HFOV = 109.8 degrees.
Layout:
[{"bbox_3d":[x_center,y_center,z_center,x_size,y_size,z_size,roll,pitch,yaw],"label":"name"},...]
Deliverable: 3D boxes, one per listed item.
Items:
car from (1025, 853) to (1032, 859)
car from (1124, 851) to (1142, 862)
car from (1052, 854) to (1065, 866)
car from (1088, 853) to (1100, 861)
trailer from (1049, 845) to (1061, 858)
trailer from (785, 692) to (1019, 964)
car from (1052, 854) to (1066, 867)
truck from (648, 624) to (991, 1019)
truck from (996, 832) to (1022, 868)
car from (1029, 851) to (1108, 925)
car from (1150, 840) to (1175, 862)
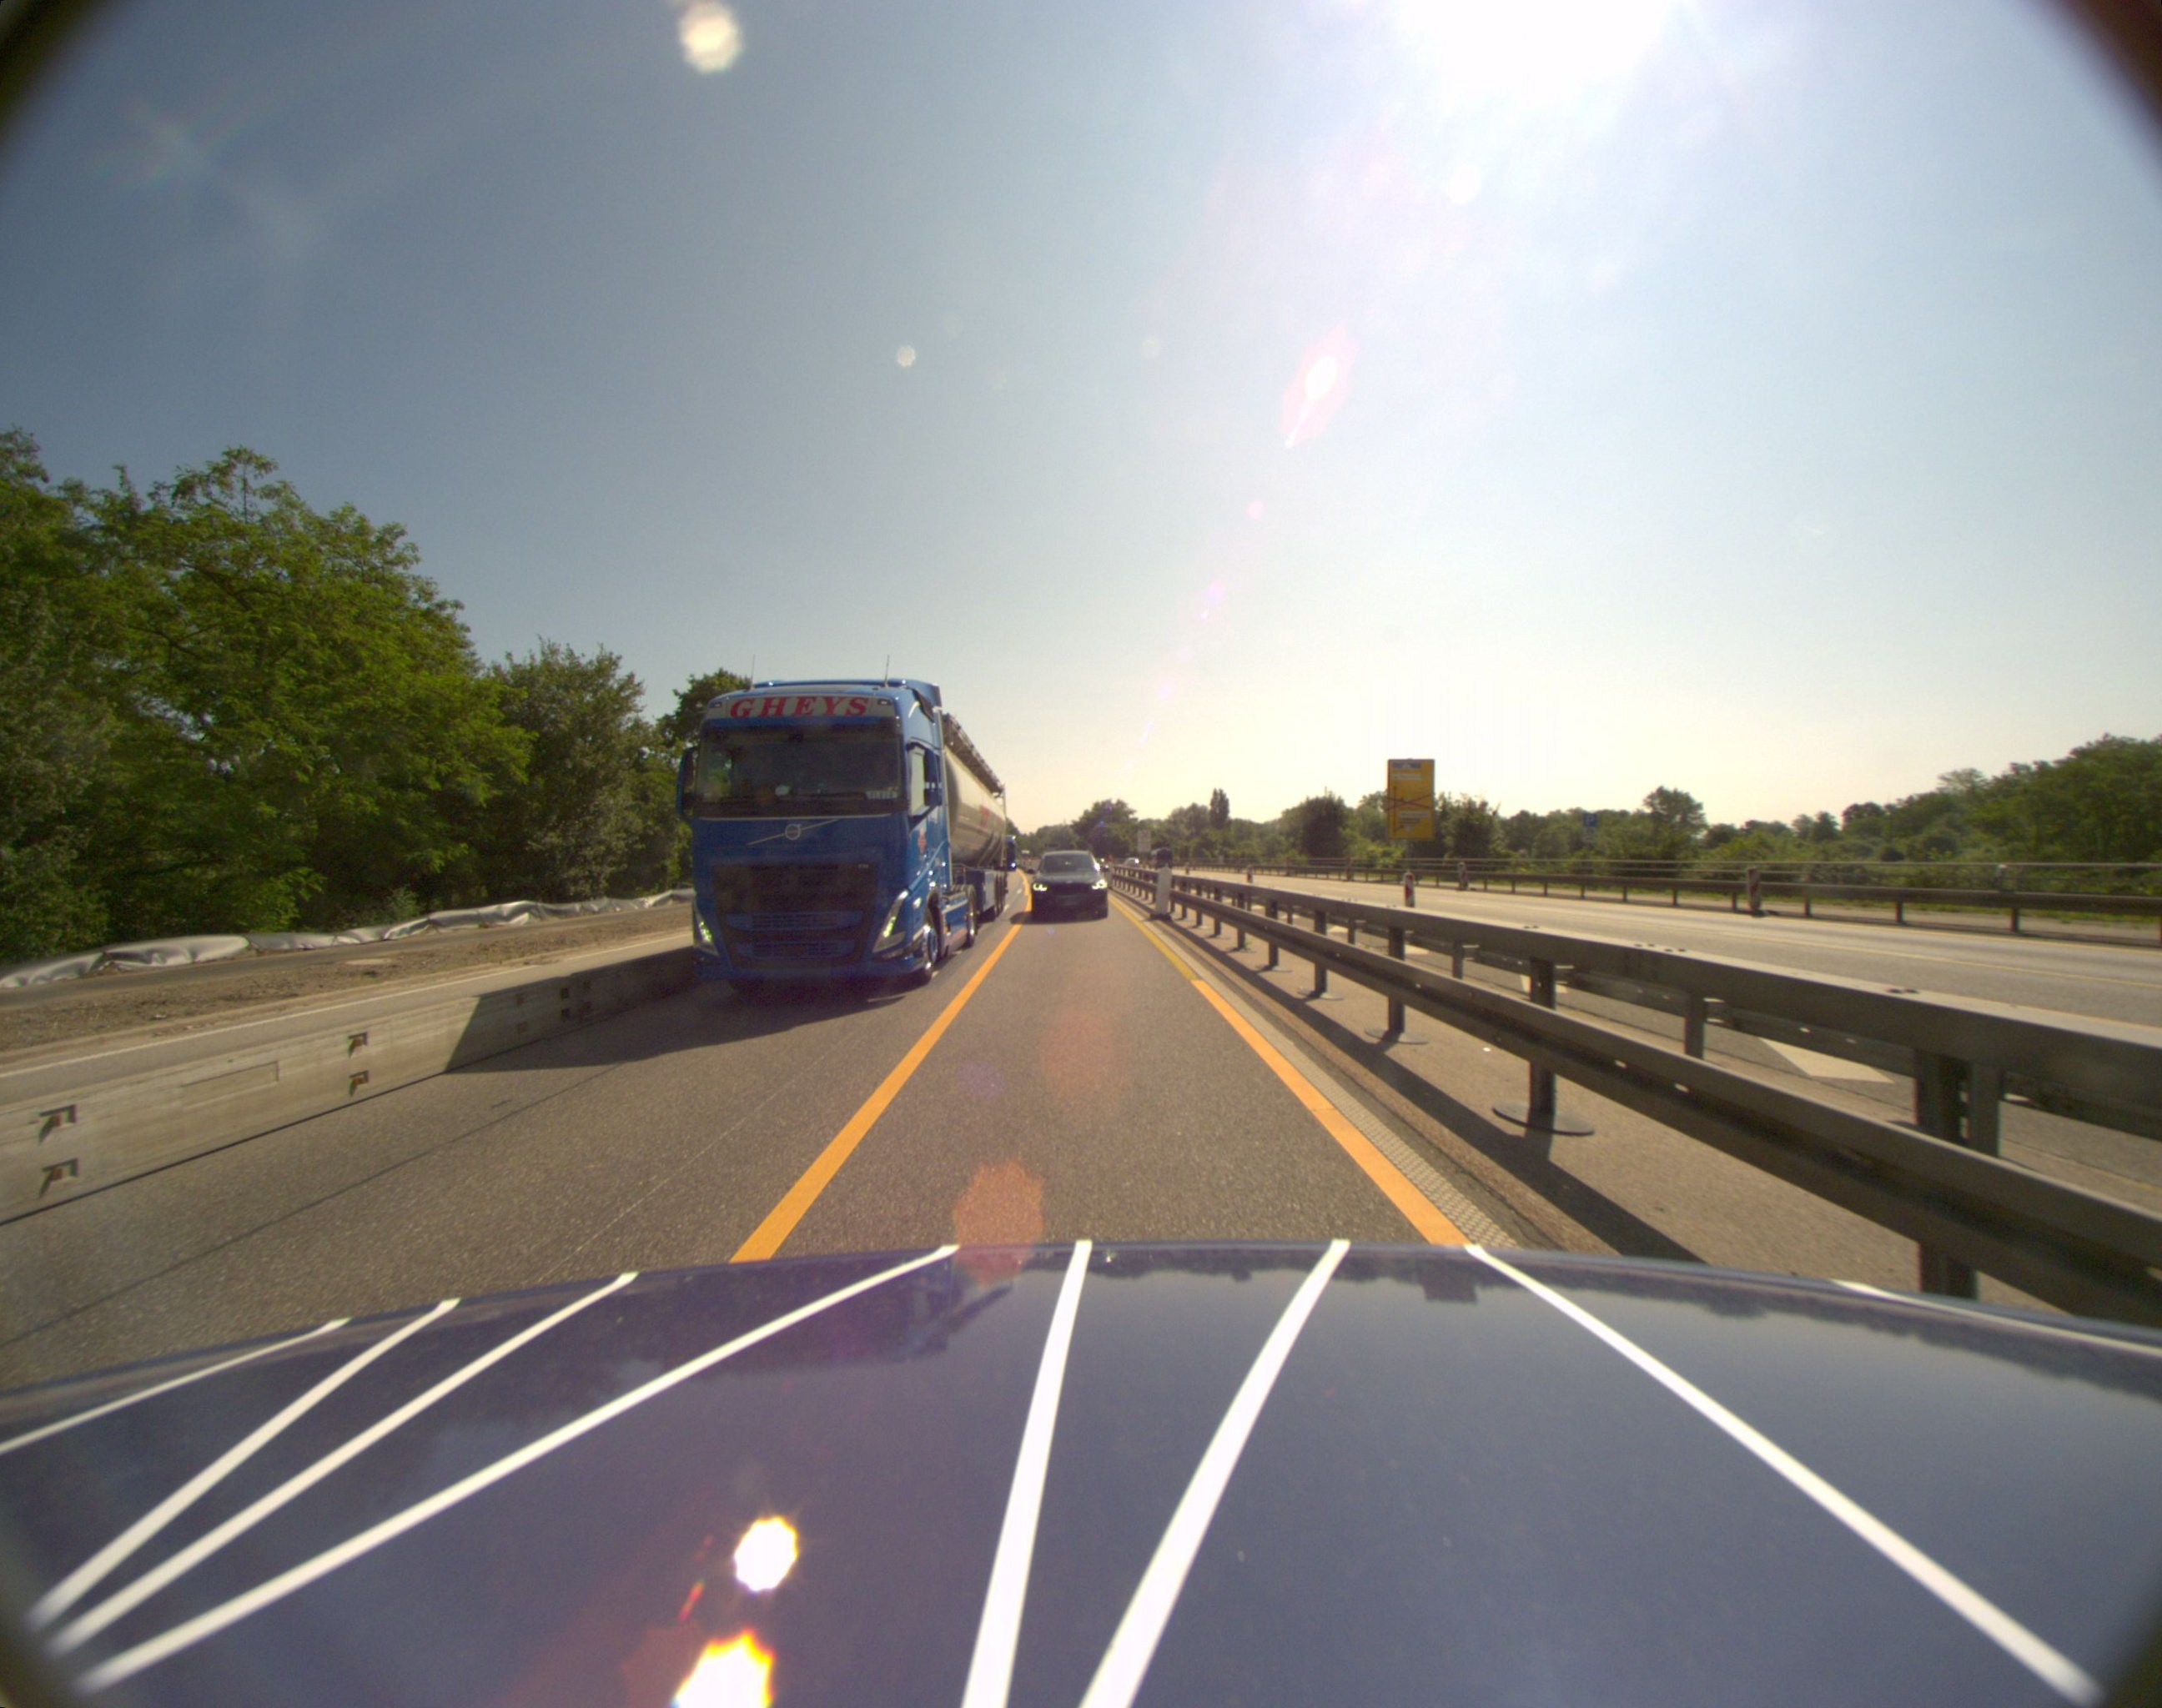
[{"bbox_3d":[-17.281,0.599,251.891,1.999,2.002,3.999,1,0,-1],"label":"car"},{"bbox_3d":[7.516,0.357,110.101,1.724,1.389,4.517,-1,0,-6],"label":"car"},{"bbox_3d":[-3.969,1.055,134.330,1.998,2.002,4.000,1,0,1],"label":"car"},{"bbox_3d":[2.373,0.637,141.449,1.742,1.467,4.643,0,0,-5],"label":"car"},{"bbox_3d":[-8.811,-0.791,257.844,2.770,4.112,14.521,1,0,-7],"label":"trailer"},{"bbox_3d":[-3.234,-0.382,17.861,2.701,4.113,12.612,1,0,-1],"label":"trailer"},{"bbox_3d":[-3.501,1.049,120.411,1.998,2.002,4.000,1,0,1],"label":"car"},{"bbox_3d":[-3.153,-0.330,11.561,2.701,4.078,7.300,1,0,0],"label":"truck"},{"bbox_3d":[-8.428,-0.413,88.767,2.862,3.961,8.660,1,0,-6],"label":"truck"},{"bbox_3d":[-0.245,0.786,19.929,1.789,1.651,4.487,-2,0,1],"label":"car"},{"bbox_3d":[9.884,-0.351,92.102,2.152,2.645,5.544,0,0,-3],"label":"car"}]
